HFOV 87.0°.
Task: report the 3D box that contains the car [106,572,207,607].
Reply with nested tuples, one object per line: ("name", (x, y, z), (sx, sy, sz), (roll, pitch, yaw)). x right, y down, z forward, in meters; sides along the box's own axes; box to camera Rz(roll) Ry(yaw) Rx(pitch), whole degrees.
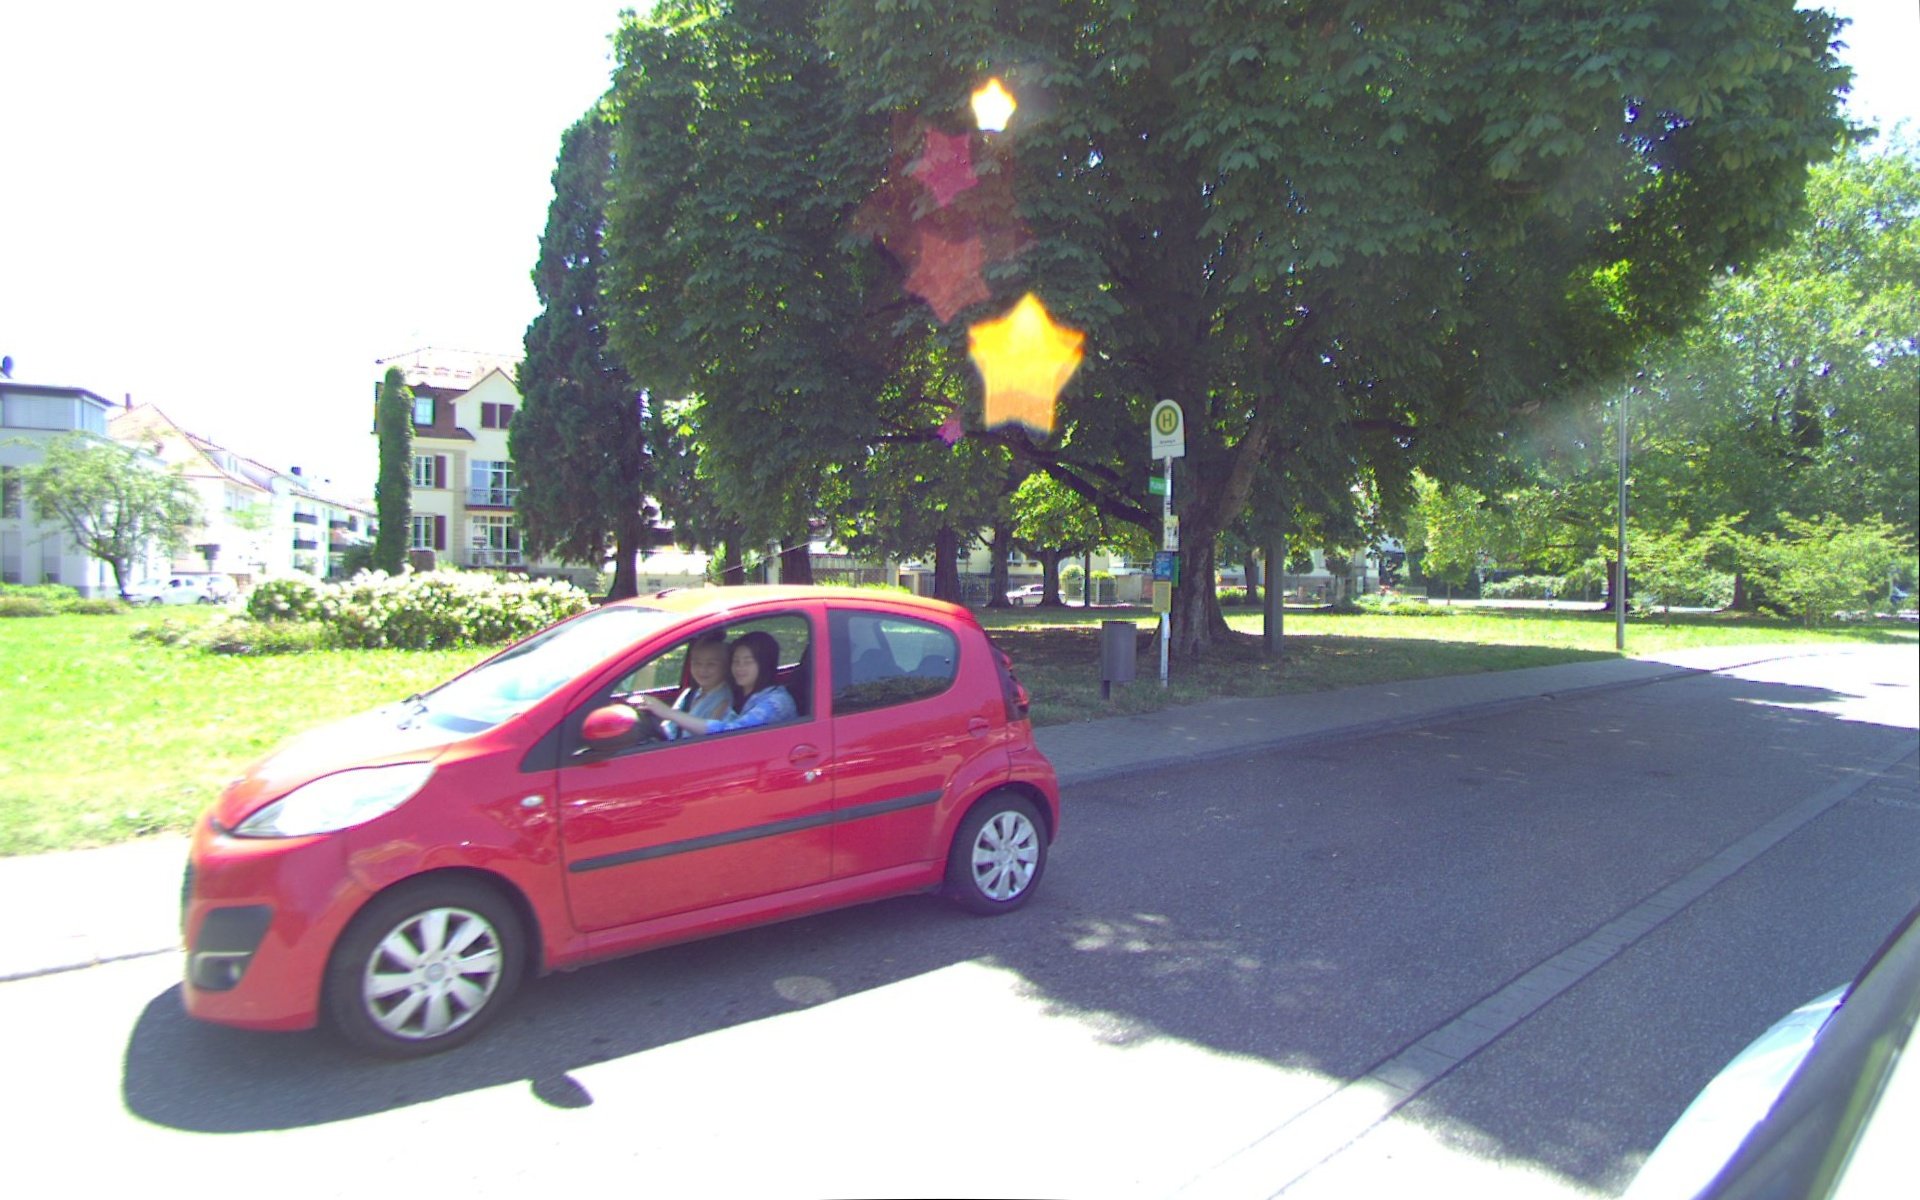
("car", (-36.059, -0.511, 45.522), (1.440, 1.450, 3.702), (1, 2, 5))

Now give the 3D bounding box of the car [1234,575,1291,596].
("car", (24.187, -1.174, 81.061), (1.962, 1.587, 4.000), (0, 2, -36))

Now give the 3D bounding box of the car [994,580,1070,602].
("car", (4.623, -0.605, 64.821), (4.618, 1.303, 1.674), (-1, 3, -26))

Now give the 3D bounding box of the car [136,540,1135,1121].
("car", (-1.151, 0.548, 4.379), (3.637, 1.496, 1.724), (-1, 2, -36))
